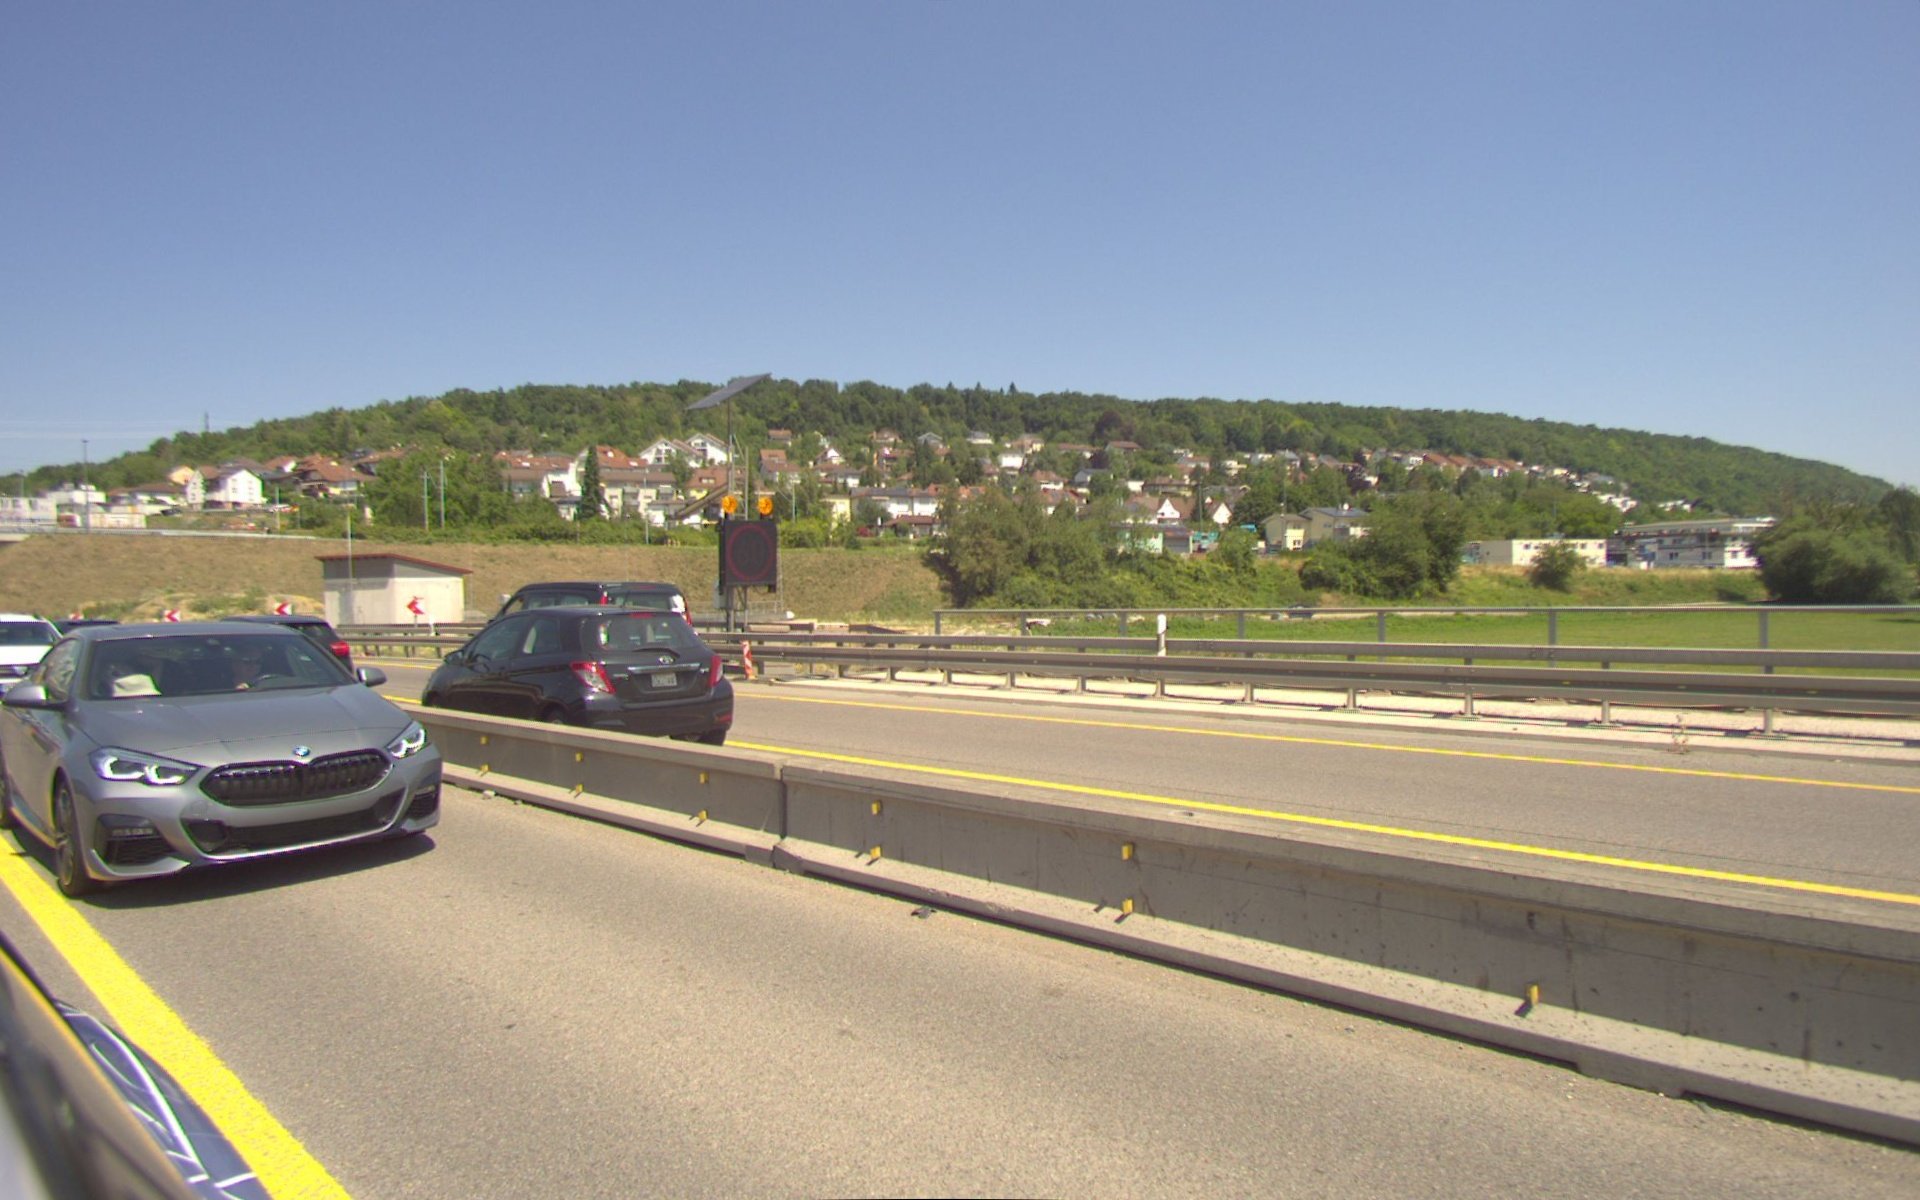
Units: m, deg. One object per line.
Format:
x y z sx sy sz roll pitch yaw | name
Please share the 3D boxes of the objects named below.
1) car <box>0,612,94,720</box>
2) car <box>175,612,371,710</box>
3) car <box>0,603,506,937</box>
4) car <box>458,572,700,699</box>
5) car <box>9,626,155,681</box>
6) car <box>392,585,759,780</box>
-15.509 1.008 16.125 4.701 1.542 1.801 -2 -1 39 | car
-11.779 0.988 17.255 4.082 1.484 1.723 -2 -3 40 | car
-5.038 0.806 6.681 4.737 1.463 1.833 -2 -1 40 | car
-6.845 0.623 17.905 4.935 1.948 1.904 -2 -2 41 | car
-23.195 1.366 26.690 4.677 1.332 1.844 -2 -2 35 | car
-4.025 0.740 10.302 4.082 1.594 1.723 -1 -3 40 | car
